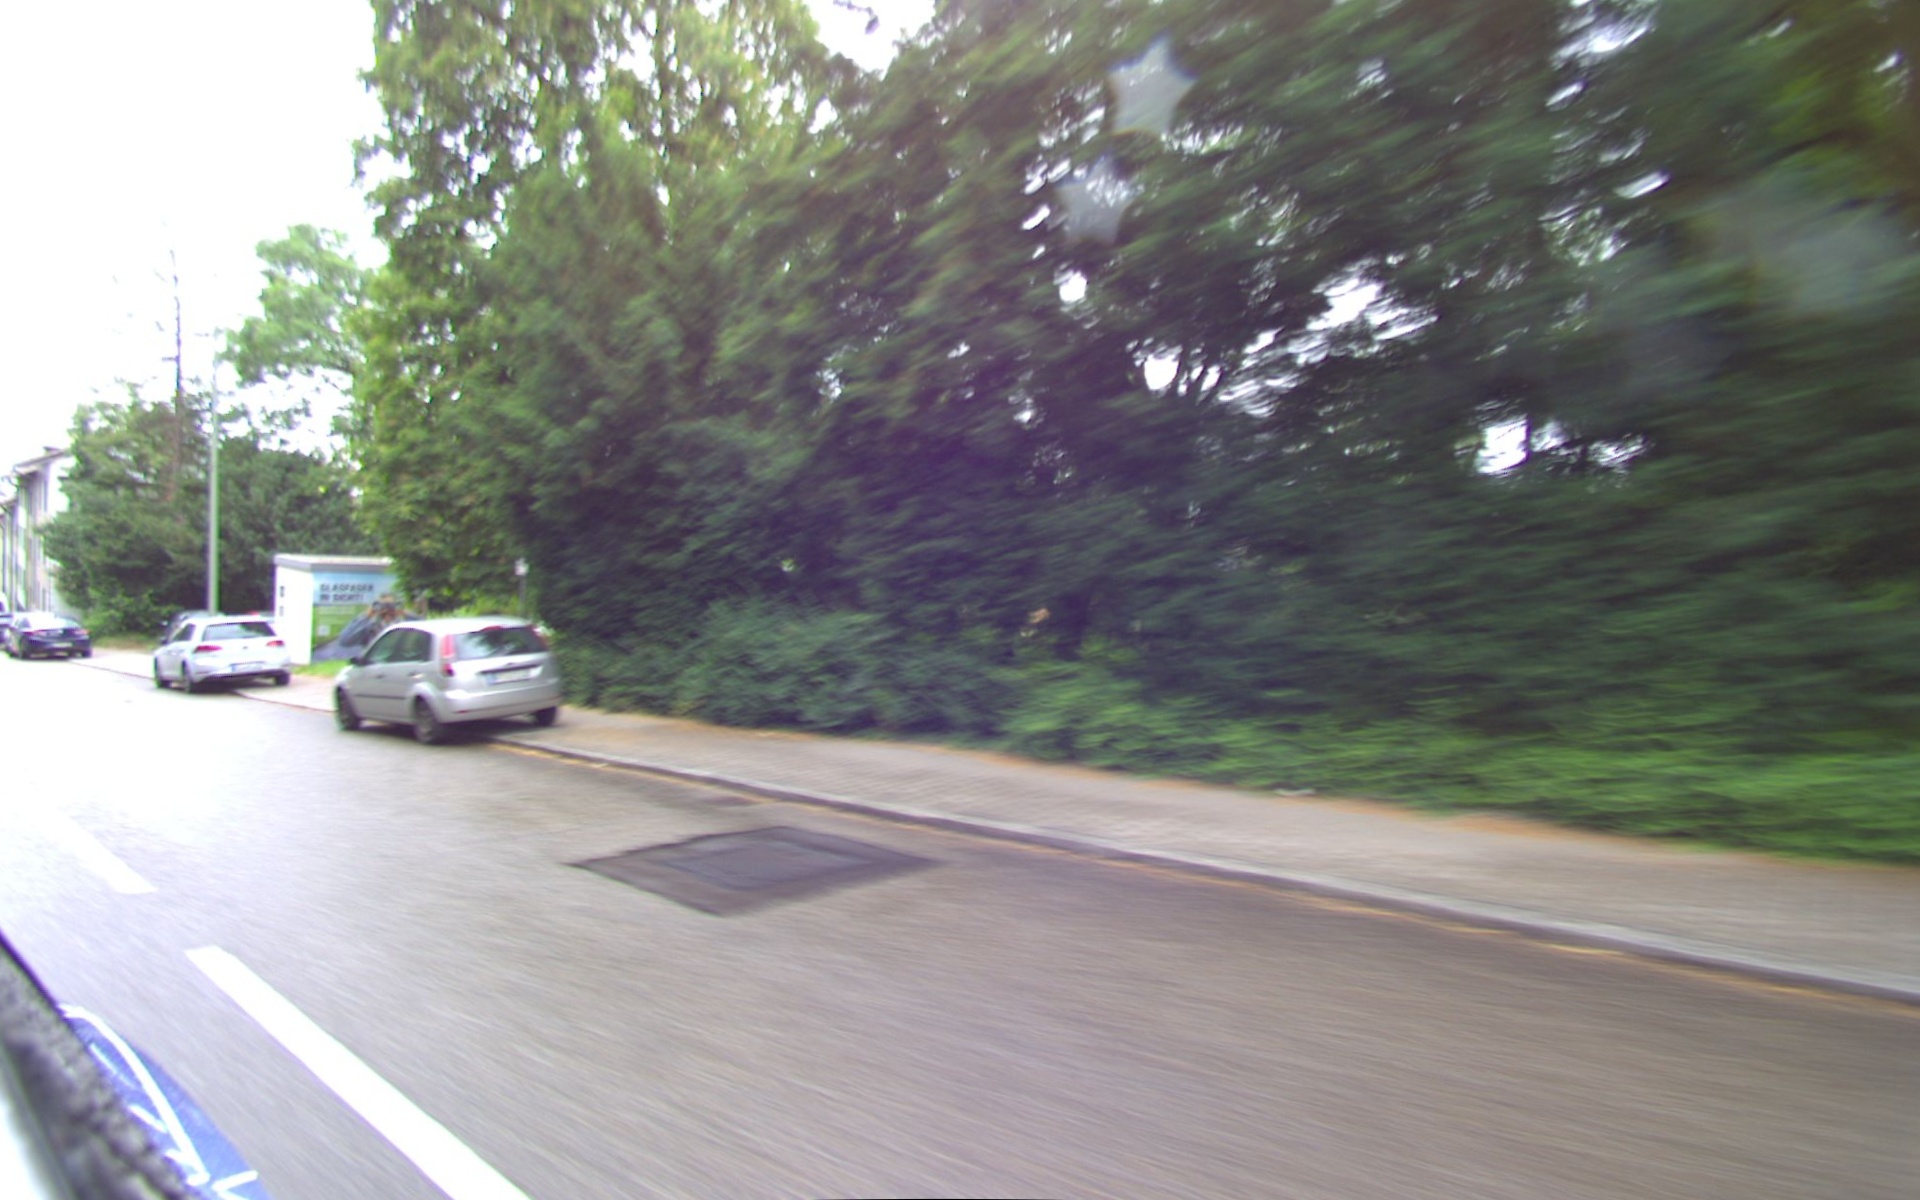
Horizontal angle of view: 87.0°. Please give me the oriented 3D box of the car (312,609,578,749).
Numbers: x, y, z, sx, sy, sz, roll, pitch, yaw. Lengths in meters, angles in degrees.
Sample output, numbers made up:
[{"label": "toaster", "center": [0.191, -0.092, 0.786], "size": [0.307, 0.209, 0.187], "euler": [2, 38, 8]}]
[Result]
[{"label": "car", "center": [-6.835, 0.924, 13.276], "size": [3.923, 1.510, 1.610], "euler": [-1, 1, 39]}]

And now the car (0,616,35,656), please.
[{"label": "car", "center": [-40.605, 1.512, 43.011], "size": [4.187, 1.616, 1.626], "euler": [-1, -3, 44]}]

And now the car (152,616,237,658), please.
[{"label": "car", "center": [-28.471, 1.333, 37.588], "size": [4.395, 1.470, 1.704], "euler": [-1, -1, 42]}]

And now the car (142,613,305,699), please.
[{"label": "car", "center": [-15.509, 1.113, 21.235], "size": [4.237, 1.624, 1.866], "euler": [-1, -3, 42]}]

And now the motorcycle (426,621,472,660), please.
[{"label": "motorcycle", "center": [-16.029, 1.250, 31.746], "size": [2.279, 1.197, 0.593], "euler": [-1, -1, 45]}]

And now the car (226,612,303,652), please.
[{"label": "car", "center": [-27.009, 1.197, 39.278], "size": [3.773, 1.470, 1.604], "euler": [-1, -1, 42]}]

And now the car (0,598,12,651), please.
[{"label": "car", "center": [-49.109, 1.213, 50.612], "size": [5.445, 2.570, 2.093], "euler": [-1, -3, 44]}]

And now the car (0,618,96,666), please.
[{"label": "car", "center": [-31.234, 1.406, 34.575], "size": [4.753, 1.505, 1.840], "euler": [-1, -4, 41]}]

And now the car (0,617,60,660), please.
[{"label": "car", "center": [-36.233, 1.450, 39.279], "size": [4.150, 1.581, 1.637], "euler": [-1, -2, 44]}]
